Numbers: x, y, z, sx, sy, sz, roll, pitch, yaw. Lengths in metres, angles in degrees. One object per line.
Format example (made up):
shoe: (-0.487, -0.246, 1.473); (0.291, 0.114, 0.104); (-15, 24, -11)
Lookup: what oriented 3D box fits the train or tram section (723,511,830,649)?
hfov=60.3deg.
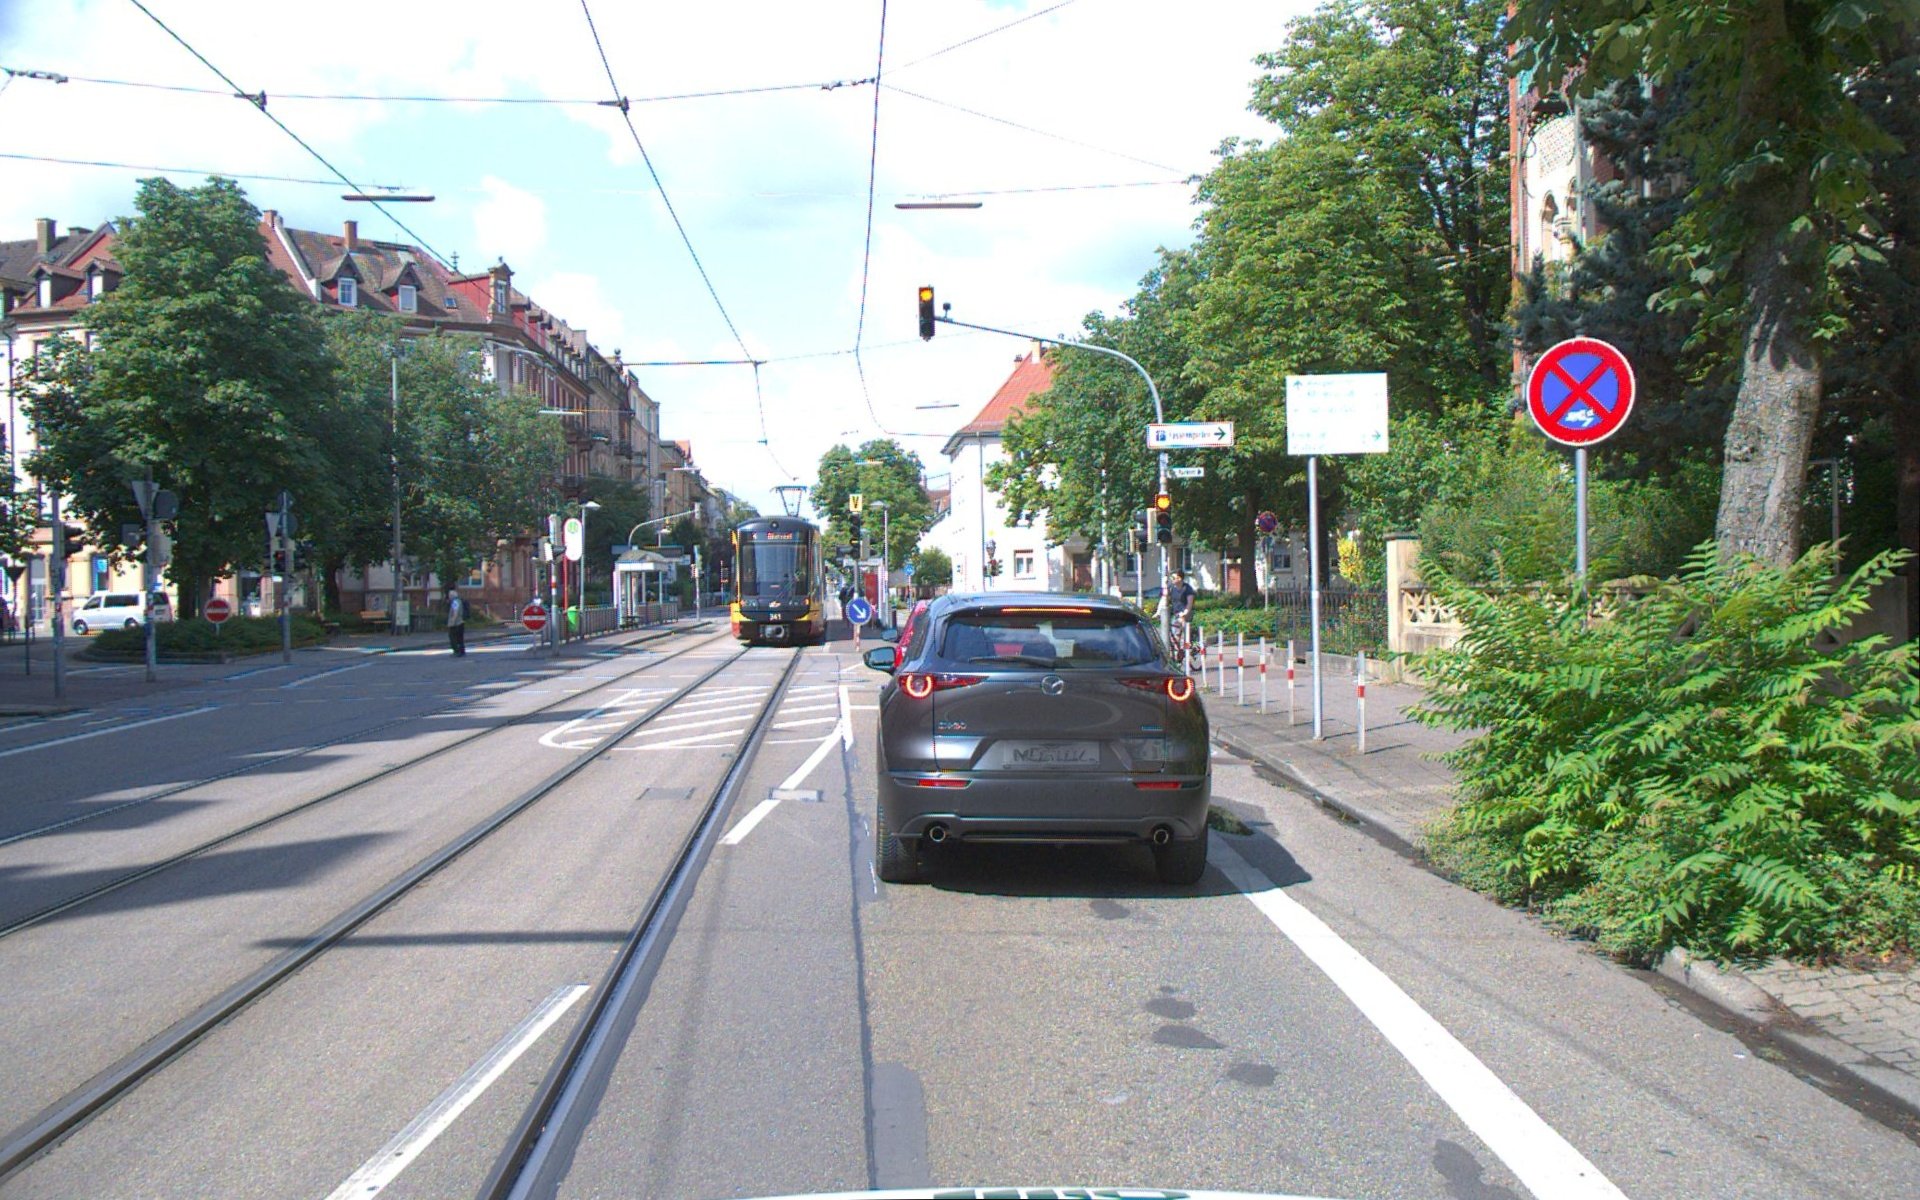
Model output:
train or tram section: (-5.394, -0.696, 50.449); (2.699, 3.551, 14.395); (-1, 1, -5)

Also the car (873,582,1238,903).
car: (0.424, 0.676, 9.993); (1.742, 1.526, 3.999); (1, 0, -1)

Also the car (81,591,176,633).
car: (-39.632, 0.575, 78.869); (3.906, 1.937, 1.999); (-1, 0, 23)

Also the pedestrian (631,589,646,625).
pedestrian: (-12.493, 0.271, 64.306); (0.420, 1.423, 0.397); (-1, 0, 30)

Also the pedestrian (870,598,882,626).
pedestrian: (-3.008, 0.420, 59.235); (0.372, 1.001, 0.474); (-1, 0, -6)

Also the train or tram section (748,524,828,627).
train or tram section: (-6.581, -1.026, 64.773); (2.699, 3.551, 14.395); (-1, 1, -5)

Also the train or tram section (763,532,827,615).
train or tram section: (-7.768, -1.326, 79.111); (2.699, 3.551, 14.395); (-1, 1, -5)

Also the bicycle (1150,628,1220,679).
bicycle: (4.017, 0.936, 29.424); (0.484, 0.838, 1.692); (-1, 0, 36)

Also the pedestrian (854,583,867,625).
pedestrian: (-3.539, 0.147, 58.722); (0.441, 1.459, 0.474); (-1, 0, -6)

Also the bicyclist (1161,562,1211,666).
bicyclist: (4.014, 0.237, 29.409); (0.645, 1.824, 0.607); (-1, 0, 38)

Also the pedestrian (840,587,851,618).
pedestrian: (-4.062, 0.100, 58.728); (0.372, 1.089, 0.474); (-1, 0, -5)

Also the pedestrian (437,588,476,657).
pedestrian: (-12.904, 0.575, 42.384); (0.712, 1.735, 0.812); (-1, 0, -39)

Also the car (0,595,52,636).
car: (-39.312, 0.648, 66.986); (3.906, 1.624, 2.000); (-1, 0, -1)

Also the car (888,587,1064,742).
car: (0.122, 0.636, 18.632); (1.742, 1.526, 3.999); (1, 0, -1)
